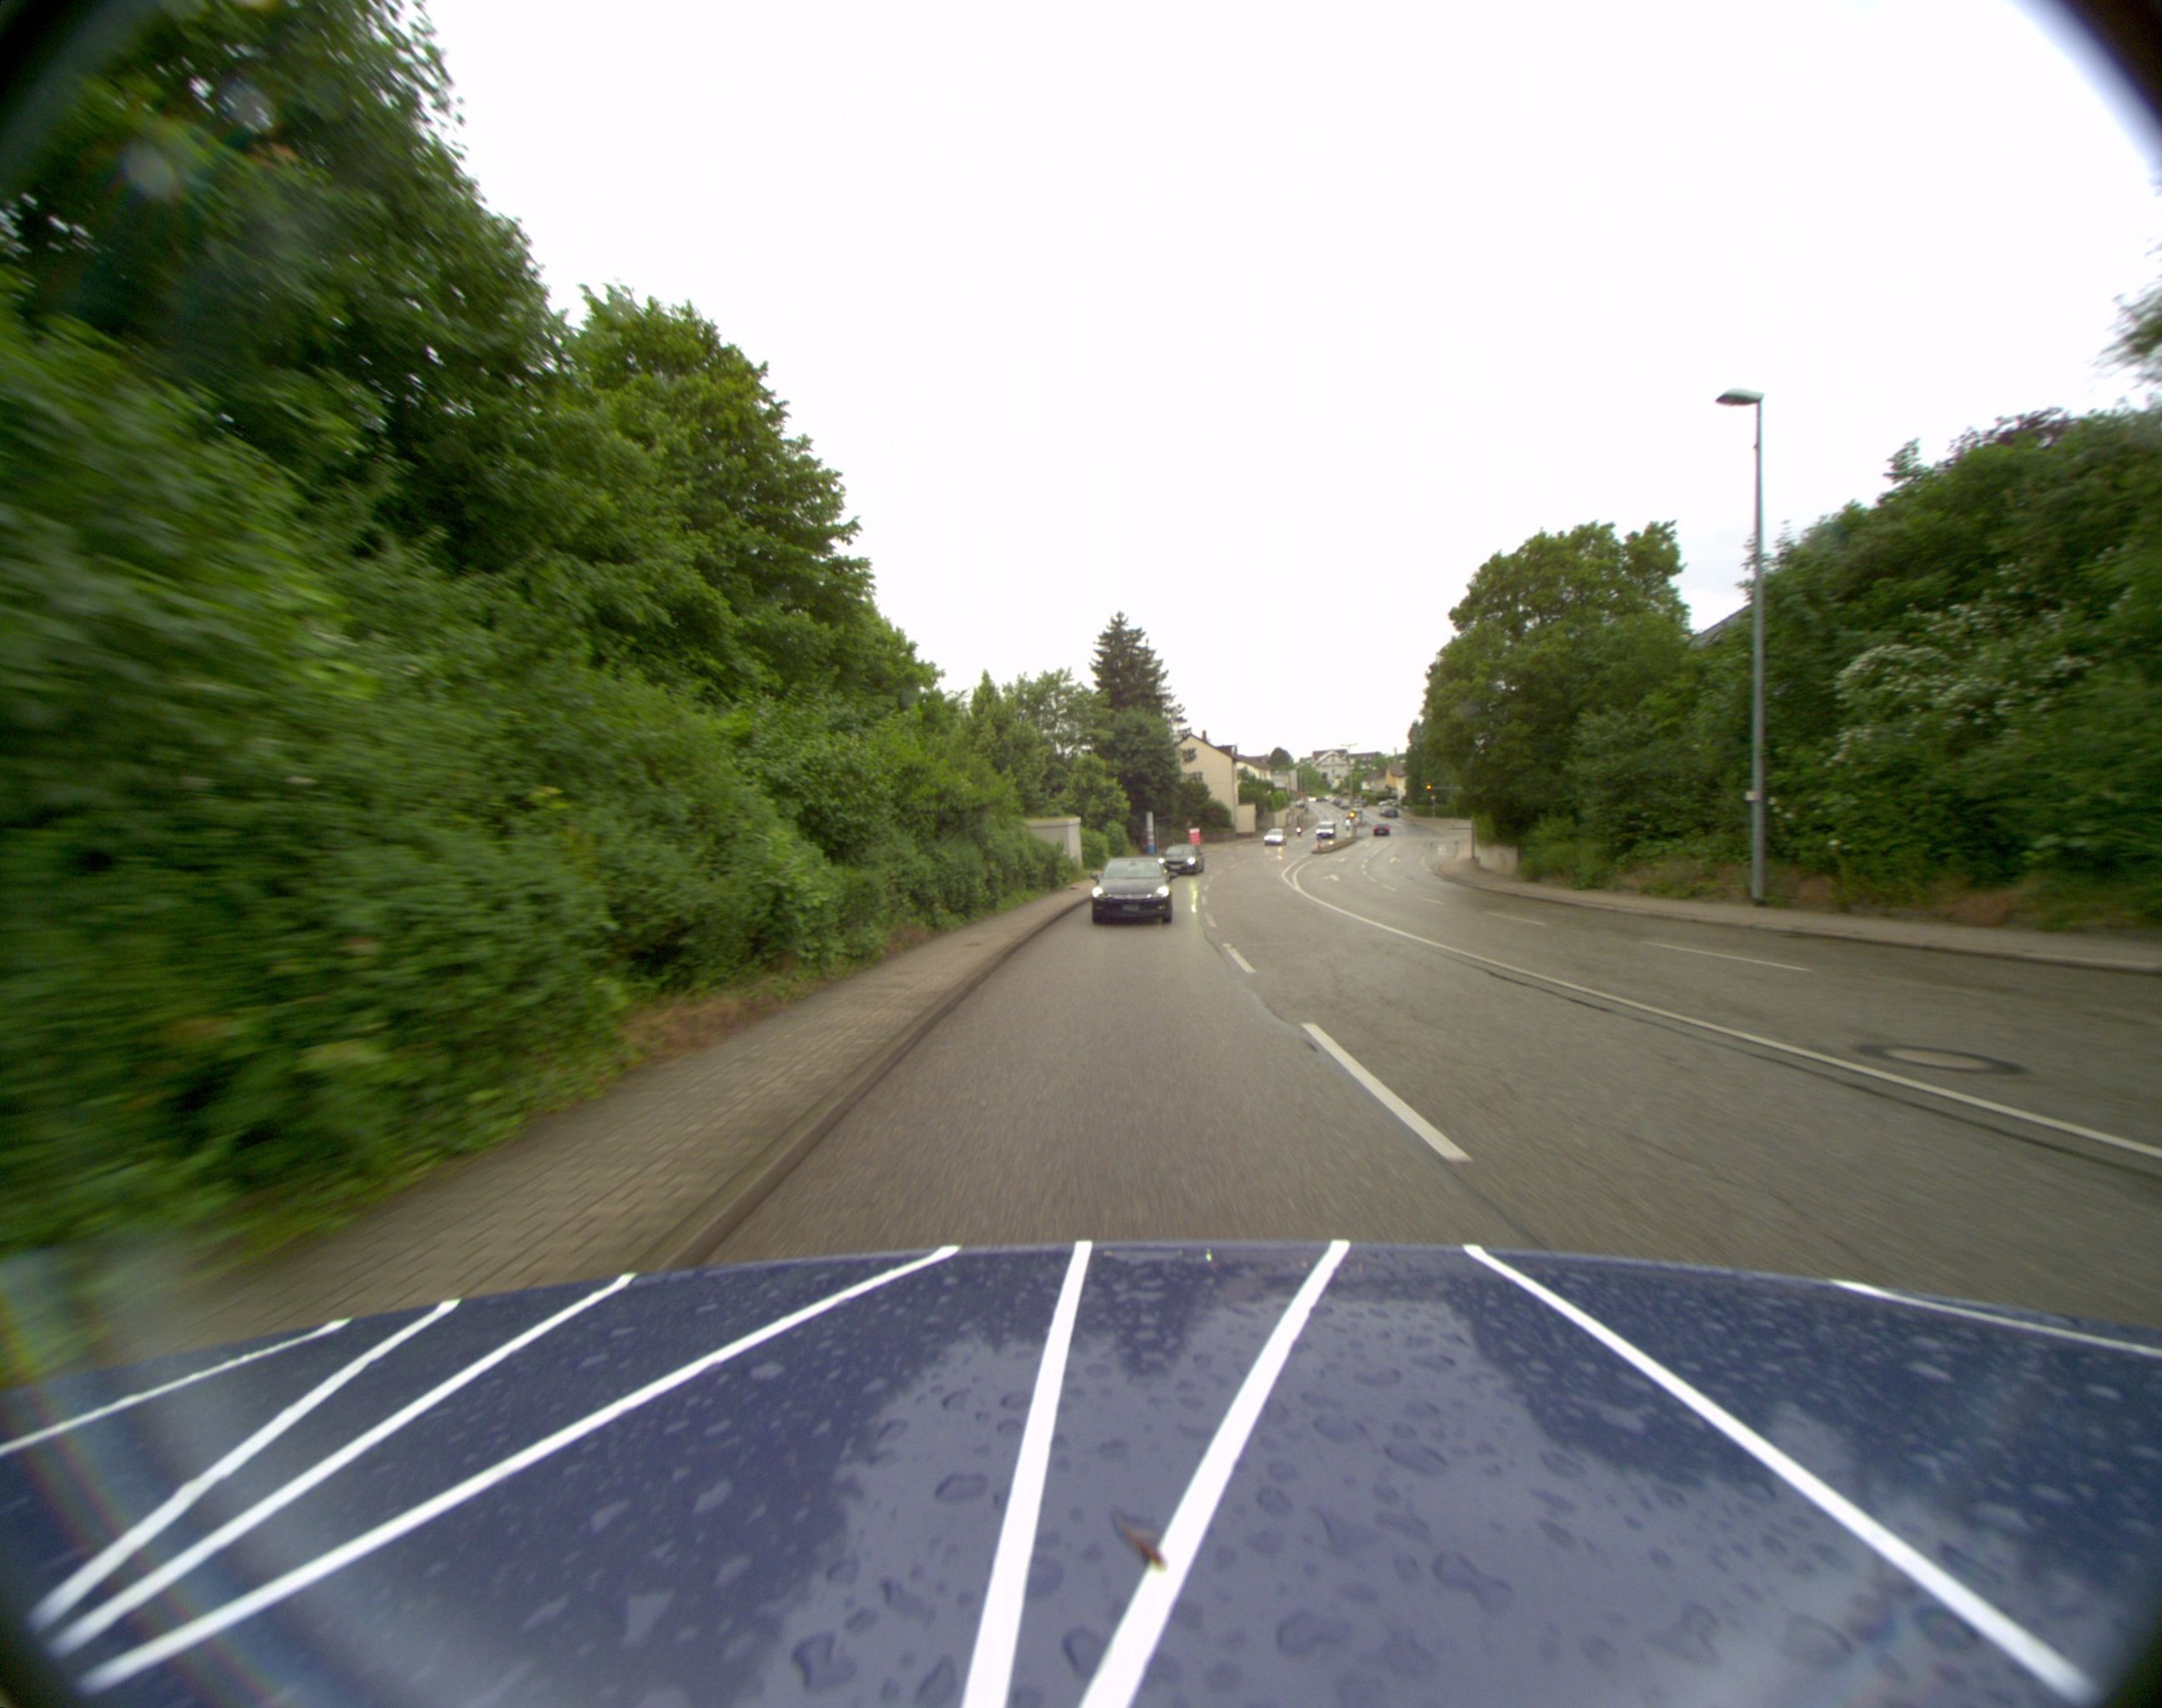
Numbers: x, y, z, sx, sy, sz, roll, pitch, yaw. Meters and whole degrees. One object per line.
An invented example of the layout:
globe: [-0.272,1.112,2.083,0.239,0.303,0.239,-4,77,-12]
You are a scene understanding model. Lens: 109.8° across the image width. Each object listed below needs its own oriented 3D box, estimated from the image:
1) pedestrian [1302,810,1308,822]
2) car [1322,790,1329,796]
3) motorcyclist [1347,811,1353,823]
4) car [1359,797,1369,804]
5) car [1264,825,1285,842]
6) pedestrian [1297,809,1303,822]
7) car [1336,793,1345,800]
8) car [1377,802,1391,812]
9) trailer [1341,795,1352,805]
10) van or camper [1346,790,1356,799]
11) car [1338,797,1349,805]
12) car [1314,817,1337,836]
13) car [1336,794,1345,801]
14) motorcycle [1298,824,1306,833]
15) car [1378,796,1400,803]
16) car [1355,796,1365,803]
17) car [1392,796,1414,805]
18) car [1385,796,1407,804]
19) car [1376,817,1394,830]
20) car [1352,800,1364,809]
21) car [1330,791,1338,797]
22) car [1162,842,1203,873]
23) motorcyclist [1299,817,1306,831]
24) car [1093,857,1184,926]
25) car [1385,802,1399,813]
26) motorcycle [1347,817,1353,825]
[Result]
pedestrian: [33.953,-5.797,115.078,0.794,1.772,1.012,1,7,22]
car: [72.451,-18.155,225.421,1.714,1.495,4.000,-1,6,15]
motorcyclist: [36.793,-5.078,103.814,0.760,1.595,0.808,0,7,22]
car: [65.371,-12.426,175.387,1.807,1.409,4.001,0,6,16]
car: [19.371,-2.102,75.950,1.838,1.474,4.002,0,5,17]
pedestrian: [32.786,-5.782,113.794,0.797,2.004,0.735,0,6,22]
car: [67.290,-14.881,196.911,1.996,1.566,4.001,0,6,17]
car: [54.133,-8.341,135.722,1.807,1.561,4.143,-1,6,16]
trailer: [59.071,-12.048,169.254,1.899,2.168,4.036,-1,5,12]
van or camper: [71.566,-15.745,201.334,2.187,2.004,5.134,-1,6,14]
car: [59.926,-12.142,173.475,1.902,1.674,4.480,-1,4,11]
car: [27.915,-3.203,86.667,1.952,1.862,4.750,1,6,24]
car: [62.989,-13.763,184.378,1.843,1.544,4.385,0,6,16]
motorcycle: [27.201,-3.112,93.419,0.762,0.948,2.443,0,6,21]
car: [69.214,-12.258,170.625,4.106,1.476,1.840,2,6,8]
car: [66.554,-13.014,181.223,1.807,1.409,4.000,0,6,13]
car: [65.680,-10.904,155.042,3.992,1.413,1.884,-4,5,16]
car: [68.263,-11.799,164.758,4.104,1.413,1.884,-3,5,16]
car: [35.781,-3.605,89.448,1.893,1.479,4.238,1,4,22]
car: [54.635,-9.819,150.075,1.826,1.649,4.467,0,5,14]
car: [70.062,-16.725,210.503,1.838,1.549,4.770,0,6,15]
car: [5.208,0.135,38.715,1.839,1.449,4.002,-1,2,11]
motorcyclist: [27.208,-3.659,93.375,0.760,1.595,0.808,0,7,21]
car: [1.356,0.851,17.678,1.840,1.389,4.003,-1,-2,5]
car: [52.980,-7.981,129.536,1.807,1.661,4.599,-1,6,16]
motorcycle: [36.874,-4.570,104.076,0.762,0.948,2.443,0,6,21]
